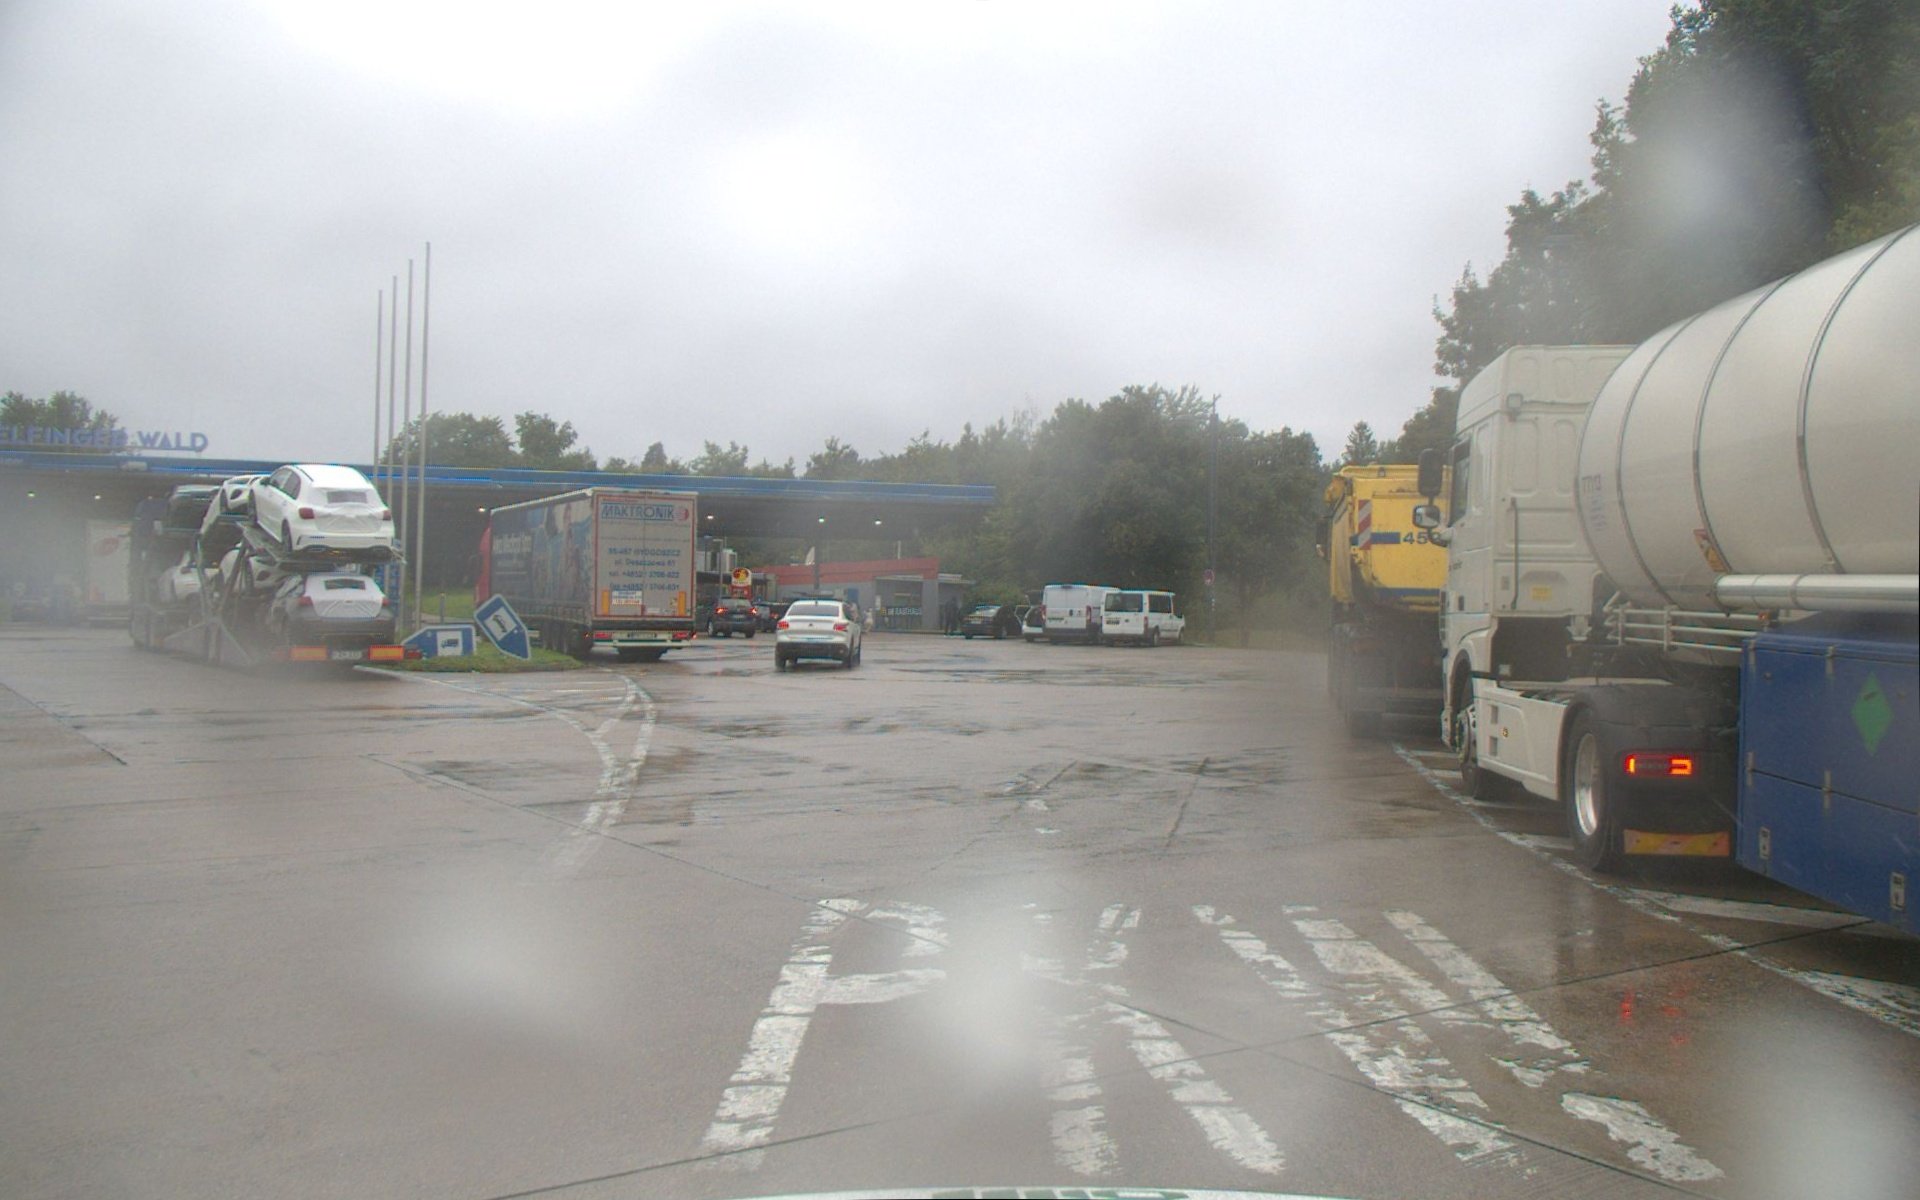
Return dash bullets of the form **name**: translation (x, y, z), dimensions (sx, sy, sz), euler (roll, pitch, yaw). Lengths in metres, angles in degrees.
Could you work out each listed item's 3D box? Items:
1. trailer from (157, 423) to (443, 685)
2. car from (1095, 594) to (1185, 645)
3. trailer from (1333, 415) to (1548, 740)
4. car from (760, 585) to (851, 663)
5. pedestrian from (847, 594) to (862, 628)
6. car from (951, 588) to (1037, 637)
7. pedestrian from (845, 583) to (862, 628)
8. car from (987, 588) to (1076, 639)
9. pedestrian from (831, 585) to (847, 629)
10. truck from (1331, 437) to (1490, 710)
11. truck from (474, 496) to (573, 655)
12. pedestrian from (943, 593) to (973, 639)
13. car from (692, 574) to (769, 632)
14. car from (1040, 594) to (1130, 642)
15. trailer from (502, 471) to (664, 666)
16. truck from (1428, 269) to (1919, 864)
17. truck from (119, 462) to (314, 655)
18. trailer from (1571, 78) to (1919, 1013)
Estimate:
- **trailer**: translation (-13.386, -0.784, 32.694), dimensions (3.185, 4.262, 11.402), euler (2, 0, -32)
- **car**: translation (6.675, 0.702, 60.930), dimensions (2.072, 1.758, 3.996), euler (1, 0, 26)
- **trailer**: translation (5.985, -0.240, 21.474), dimensions (2.136, 3.452, 7.570), euler (1, 0, 12)
- **car**: translation (-3.528, 0.542, 38.451), dimensions (1.954, 1.708, 3.997), euler (0, 0, -3)
- **pedestrian**: translation (-4.843, 0.517, 75.940), dimensions (0.596, 1.566, 0.594), euler (1, -2, -8)
- **car**: translation (1.485, 0.515, 70.261), dimensions (2.072, 1.971, 4.188), euler (1, 0, 26)
- **pedestrian**: translation (-5.050, 0.279, 78.328), dimensions (0.656, 2.049, 0.742), euler (3, -4, -1)
- **car**: translation (2.899, 0.531, 66.413), dimensions (2.072, 1.971, 4.188), euler (1, 0, 26)
- **pedestrian**: translation (-5.820, 0.322, 79.496), dimensions (0.576, 2.049, 0.636), euler (3, -4, -10)
- **truck**: translation (6.940, -0.381, 25.869), dimensions (2.134, 3.895, 4.145), euler (1, 0, 12)
- **truck**: translation (-13.437, -0.694, 50.702), dimensions (1.964, 4.629, 4.754), euler (2, -1, -26)
- **pedestrian**: translation (-0.089, 0.679, 70.631), dimensions (0.934, 1.953, 1.089), euler (1, 0, 18)
- **car**: translation (-9.252, 0.164, 66.480), dimensions (1.967, 2.049, 3.969), euler (4, -4, -24)
- **car**: translation (4.777, 0.676, 62.861), dimensions (2.072, 1.758, 3.996), euler (1, 0, 26)
- **trailer**: translation (-10.255, -0.715, 44.173), dimensions (1.969, 4.639, 9.726), euler (2, -1, -26)
- **truck**: translation (5.006, -0.208, 12.336), dimensions (2.100, 3.574, 4.649), euler (1, 0, 6)
- **truck**: translation (-18.629, -0.947, 41.102), dimensions (3.203, 4.262, 8.351), euler (2, 0, -32)
- **trailer**: translation (4.585, -0.203, 5.647), dimensions (2.086, 3.501, 10.259), euler (1, 0, 5)
